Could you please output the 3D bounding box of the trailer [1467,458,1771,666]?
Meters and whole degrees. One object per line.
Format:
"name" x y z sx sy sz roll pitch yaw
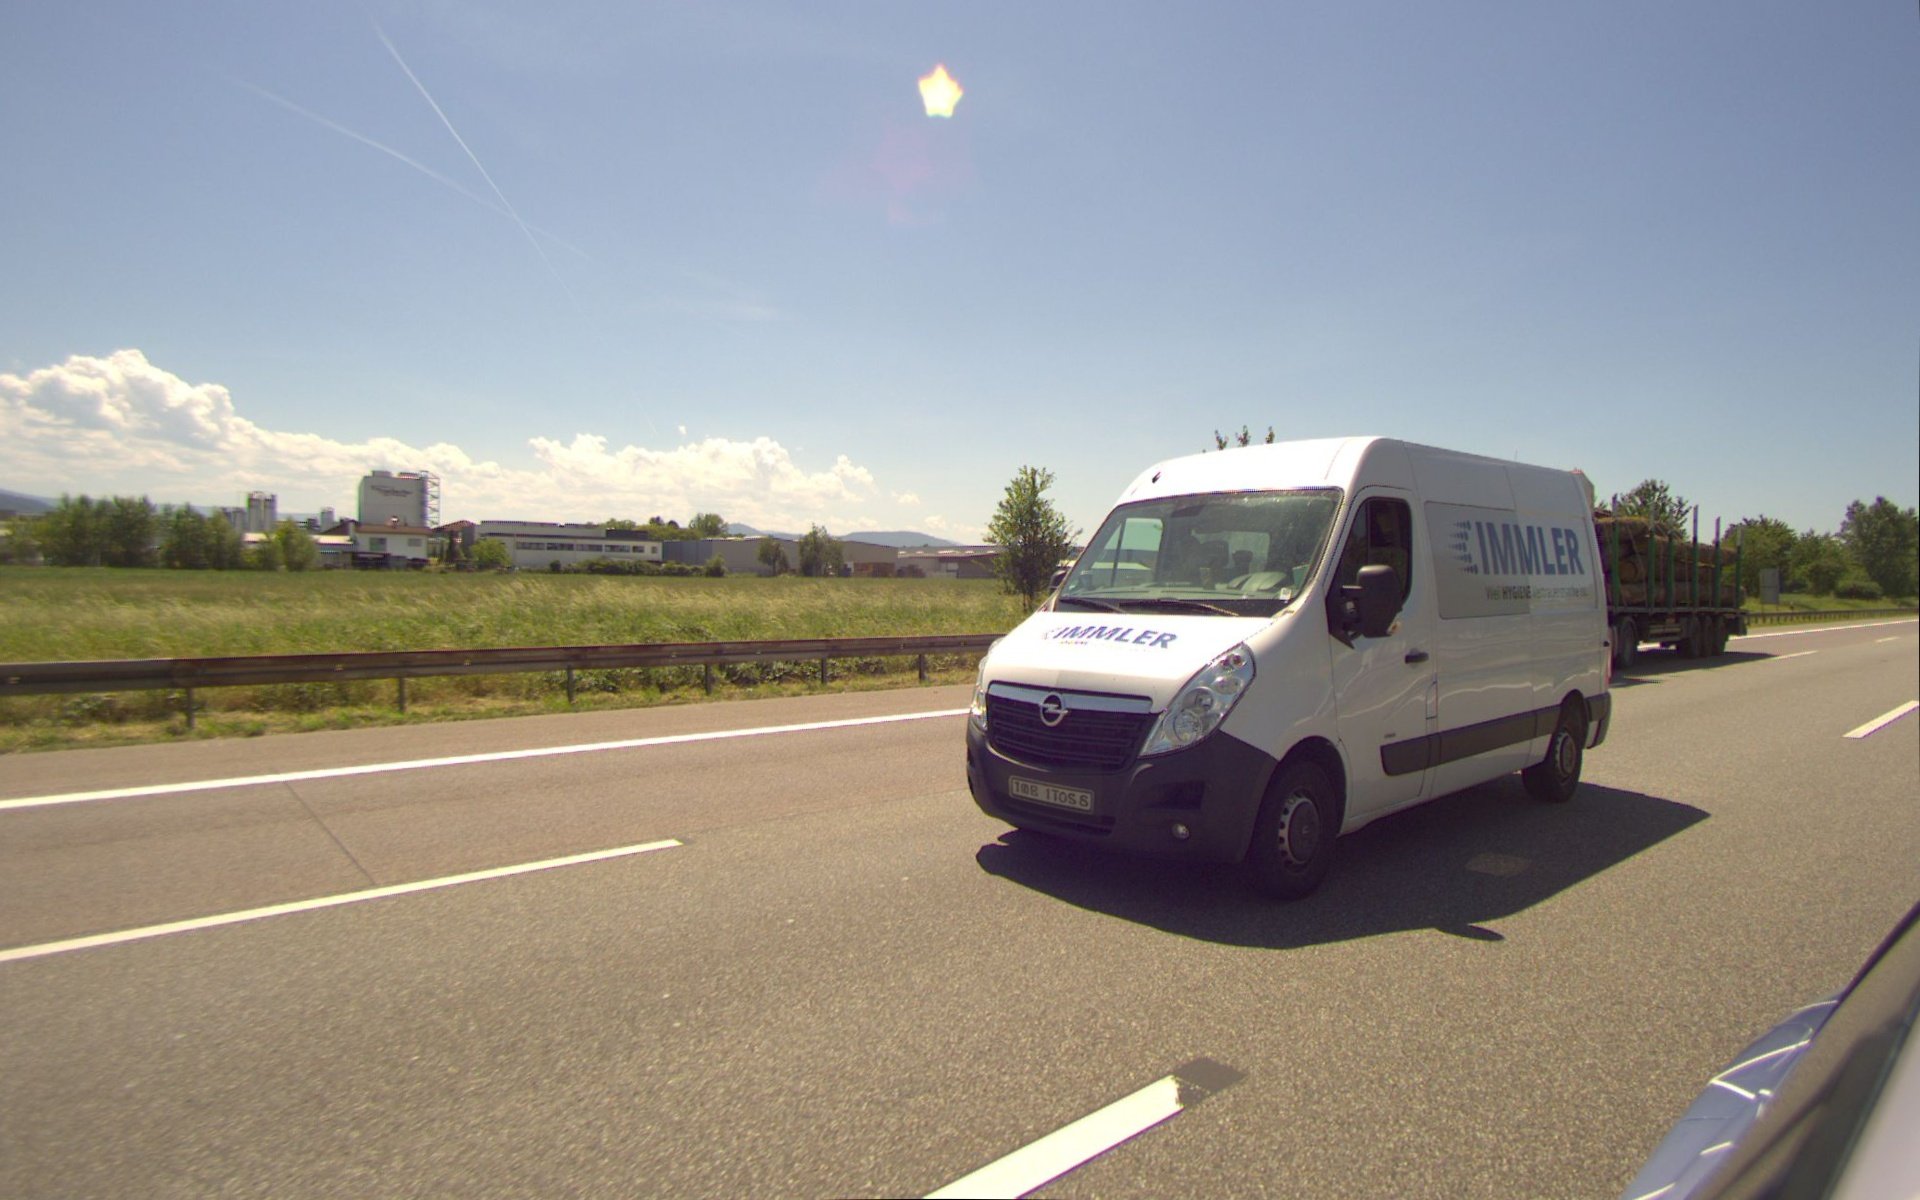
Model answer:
"trailer" 16.876 -0.776 25.107 13.717 4.016 2.697 0 0 -41

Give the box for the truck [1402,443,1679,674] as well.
"truck" 12.315 -0.751 21.116 7.569 4.016 2.697 0 0 -41

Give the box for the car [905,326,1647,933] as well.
"car" 2.580 0.092 6.981 5.842 2.540 2.157 -1 0 -41
